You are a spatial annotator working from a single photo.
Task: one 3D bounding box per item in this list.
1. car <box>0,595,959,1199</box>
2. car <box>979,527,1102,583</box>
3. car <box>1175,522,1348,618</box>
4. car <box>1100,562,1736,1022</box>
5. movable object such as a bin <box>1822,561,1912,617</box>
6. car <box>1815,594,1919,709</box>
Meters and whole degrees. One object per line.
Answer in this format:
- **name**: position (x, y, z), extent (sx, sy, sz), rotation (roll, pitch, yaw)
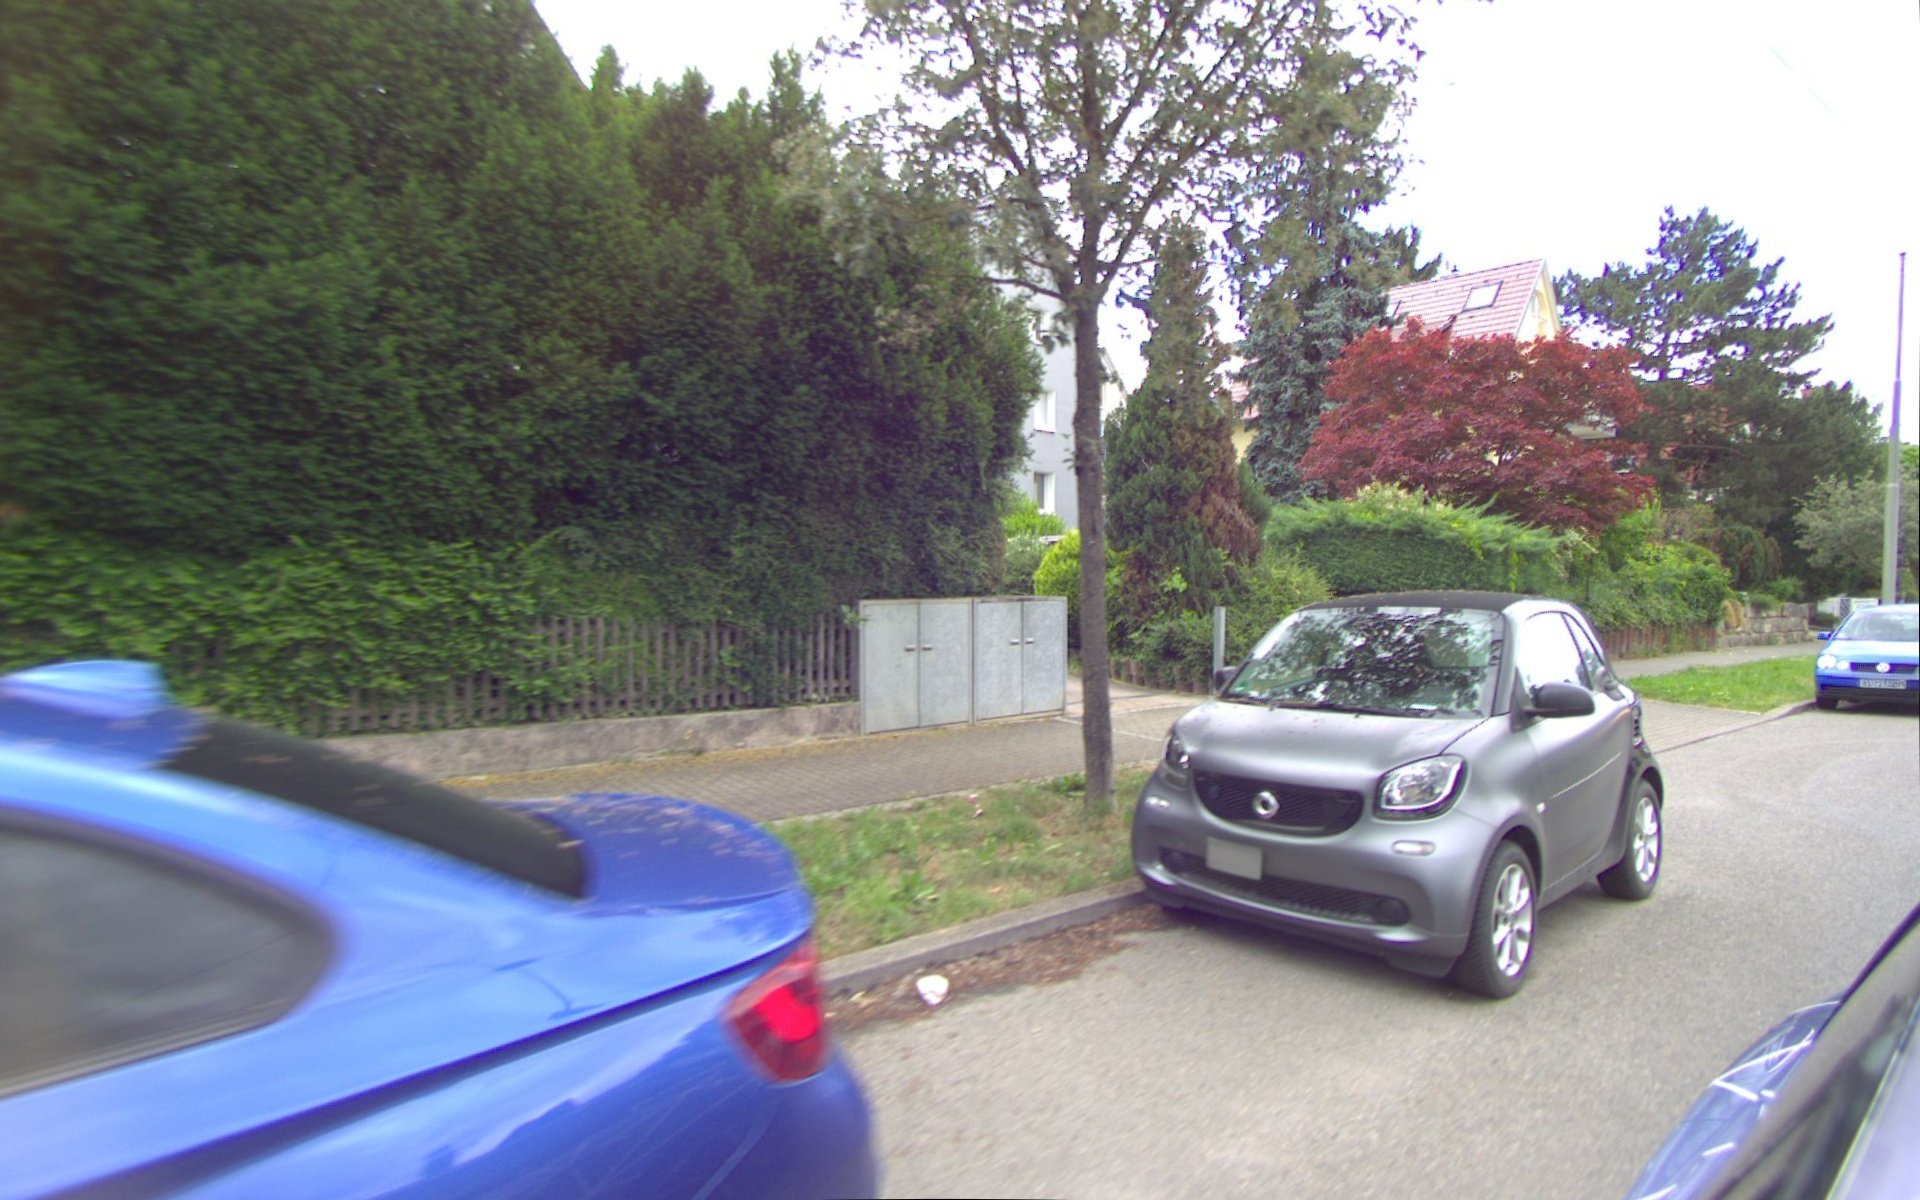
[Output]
- **car**: position (-2.157, 0.727, 0.932), extent (4.264, 1.451, 1.699), rotation (0, 0, -41)
- **car**: position (2.326, -1.323, 28.671), extent (1.426, 1.365, 3.794), rotation (4, 8, 43)
- **car**: position (6.907, -0.776, 22.938), extent (4.467, 1.697, 1.780), rotation (-8, 10, -43)
- **car**: position (2.665, 0.649, 5.426), extent (3.888, 1.577, 1.697), rotation (0, 0, -42)
- **movable object such as a bin**: position (33.716, -0.399, 37.633), extent (1.319, 2.039, 2.315), rotation (0, 0, -39)
- **car**: position (13.712, 0.659, 14.419), extent (3.806, 1.470, 1.630), rotation (0, 0, -39)
